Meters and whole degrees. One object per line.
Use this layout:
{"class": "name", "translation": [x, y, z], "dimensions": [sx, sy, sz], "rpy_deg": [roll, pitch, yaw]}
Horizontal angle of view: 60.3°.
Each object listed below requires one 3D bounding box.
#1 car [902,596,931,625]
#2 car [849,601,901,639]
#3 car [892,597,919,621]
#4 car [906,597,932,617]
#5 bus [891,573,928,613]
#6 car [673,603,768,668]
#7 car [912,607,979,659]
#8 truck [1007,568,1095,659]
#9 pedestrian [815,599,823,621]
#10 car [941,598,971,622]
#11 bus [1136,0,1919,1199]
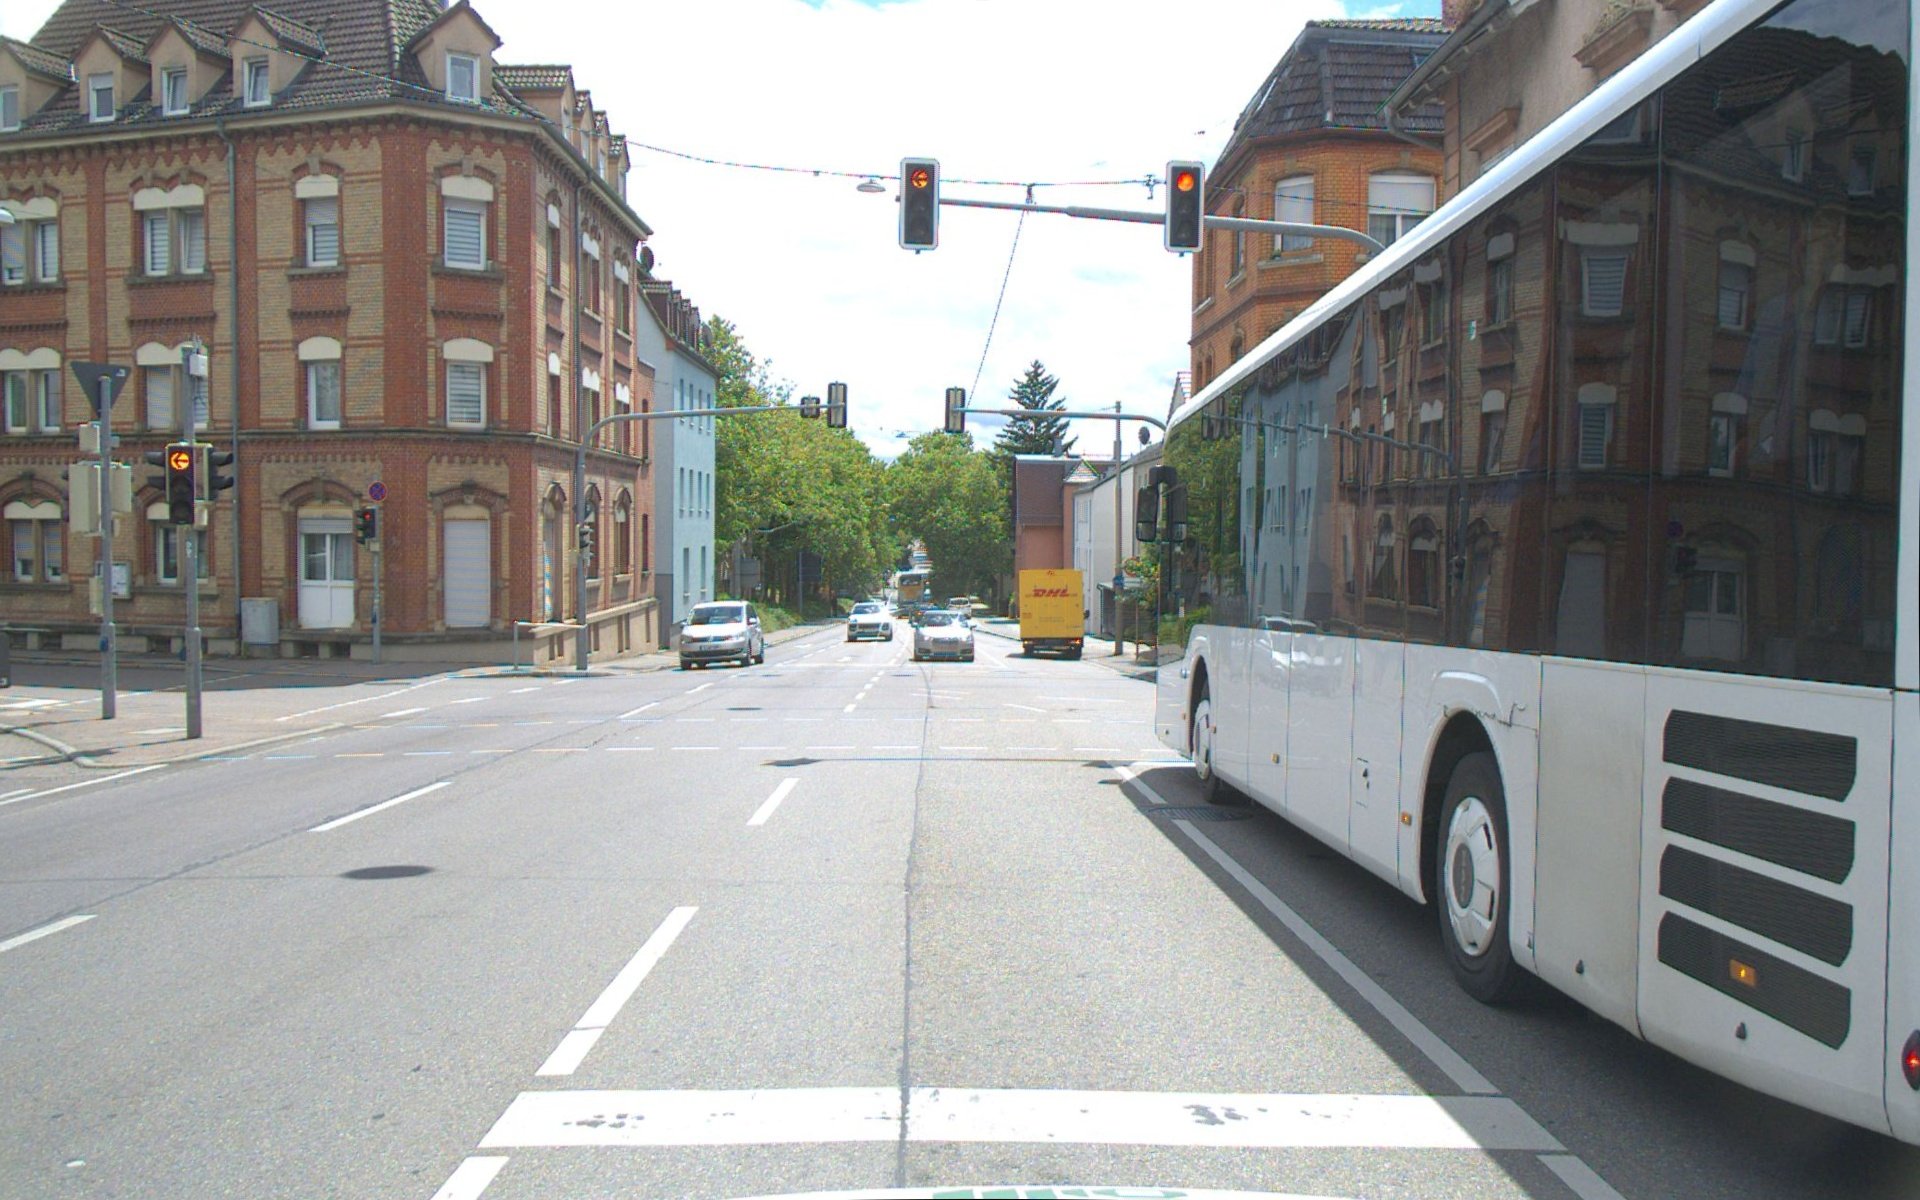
{"class": "car", "translation": [-2.780, 0.667, 106.277], "dimensions": [1.782, 1.816, 3.999], "rpy_deg": [0, 0, -1]}
{"class": "car", "translation": [-3.751, 0.880, 73.961], "dimensions": [2.162, 1.641, 4.546], "rpy_deg": [0, 0, -1]}
{"class": "car", "translation": [-4.434, 0.700, 133.332], "dimensions": [2.050, 1.862, 4.139], "rpy_deg": [0, 0, -4]}
{"class": "car", "translation": [-2.920, 0.493, 118.988], "dimensions": [1.827, 1.391, 4.546], "rpy_deg": [0, 0, -1]}
{"class": "bus", "translation": [-4.945, -0.625, 159.741], "dimensions": [3.235, 3.694, 11.235], "rpy_deg": [-1, 0, -4]}
{"class": "car", "translation": [-6.186, 0.892, 43.214], "dimensions": [1.896, 1.591, 4.388], "rpy_deg": [0, 0, -1]}
{"class": "car", "translation": [-0.442, 0.928, 47.691], "dimensions": [1.827, 1.391, 4.546], "rpy_deg": [0, 0, -1]}
{"class": "truck", "translation": [3.240, 0.462, 57.429], "dimensions": [2.487, 2.964, 6.577], "rpy_deg": [1, 0, 7]}
{"class": "pedestrian", "translation": [-11.636, 0.847, 136.523], "dimensions": [0.594, 1.789, 0.653], "rpy_deg": [0, 0, -2]}
{"class": "car", "translation": [-0.316, 0.757, 129.607], "dimensions": [2.050, 1.862, 4.139], "rpy_deg": [0, 0, -4]}
{"class": "bus", "translation": [3.194, -0.265, 9.350], "dimensions": [2.845, 3.571, 12.484], "rpy_deg": [1, 0, -1]}
